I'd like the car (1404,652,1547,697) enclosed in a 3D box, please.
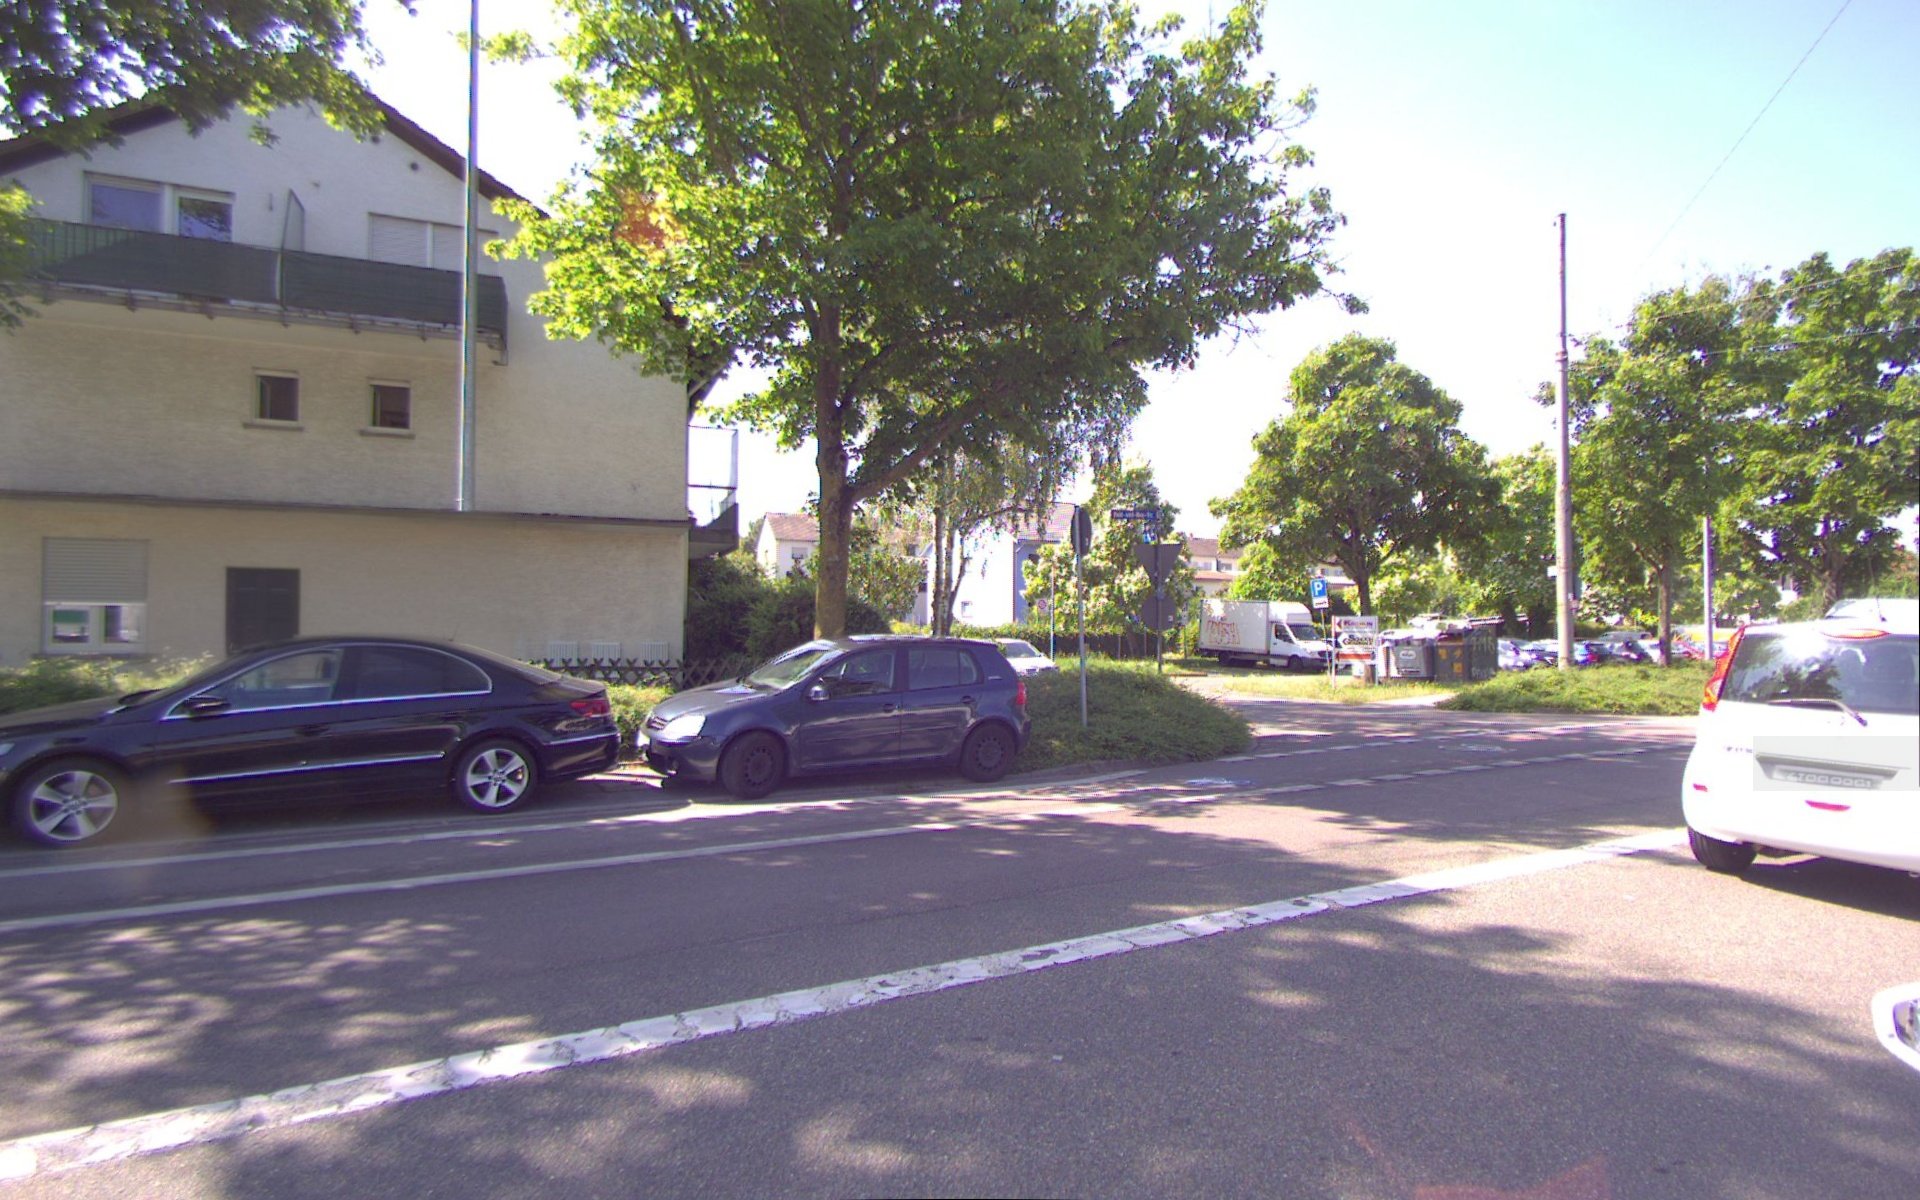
[{"bbox_3d":[17.324,2.487,33.901,1.712,1.434,3.964,2,-4,-33],"label":"car"}]

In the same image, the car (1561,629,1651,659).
[{"bbox_3d":[44.516,2.983,69.300,2.043,1.811,4.762,2,0,-34],"label":"car"}]

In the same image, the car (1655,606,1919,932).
[{"bbox_3d":[6.413,0.857,6.252,4.491,1.568,1.655,1,-1,-29],"label":"car"}]

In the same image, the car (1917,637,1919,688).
[{"bbox_3d":[29.409,1.816,28.736,4.230,1.434,1.854,1,0,-31],"label":"car"}]

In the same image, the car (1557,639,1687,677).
[{"bbox_3d":[26.352,2.325,40.098,1.712,1.434,3.964,2,-4,-33],"label":"car"}]

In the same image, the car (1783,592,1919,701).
[{"bbox_3d":[23.795,1.138,25.777,5.745,2.550,2.114,1,0,-29],"label":"car"}]

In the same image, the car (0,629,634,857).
[{"bbox_3d":[-5.258,1.004,8.350,4.568,1.434,1.854,1,0,-31],"label":"car"}]

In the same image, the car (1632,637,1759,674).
[{"bbox_3d":[30.741,2.330,42.086,1.712,1.434,3.964,2,-4,-33],"label":"car"}]

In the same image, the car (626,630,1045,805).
[{"bbox_3d":[-1.268,1.094,10.479,3.988,1.462,1.718,1,0,-28],"label":"car"}]

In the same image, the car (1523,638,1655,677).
[{"bbox_3d":[24.171,2.209,38.716,1.712,1.434,3.964,2,-4,-33],"label":"car"}]

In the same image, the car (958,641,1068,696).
[{"bbox_3d":[1.419,1.918,28.425,1.704,1.434,3.983,1,-3,-20],"label":"car"}]

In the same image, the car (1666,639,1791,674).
[{"bbox_3d":[33.163,2.442,43.456,1.712,1.434,3.964,2,-4,-33],"label":"car"}]

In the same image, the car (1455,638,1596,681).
[{"bbox_3d":[19.696,2.072,35.124,1.712,1.434,3.964,2,-4,-33],"label":"car"}]

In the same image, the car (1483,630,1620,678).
[{"bbox_3d":[21.415,1.968,36.509,1.712,1.631,3.964,2,-4,-33],"label":"car"}]

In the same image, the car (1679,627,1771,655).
[{"bbox_3d":[54.423,2.898,71.549,2.043,1.811,4.762,2,0,-34],"label":"car"}]

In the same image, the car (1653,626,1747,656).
[{"bbox_3d":[50.589,2.768,68.752,2.043,1.811,4.762,2,0,-34],"label":"car"}]

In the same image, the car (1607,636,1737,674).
[{"bbox_3d":[28.830,2.240,40.785,1.712,1.434,3.964,2,-4,-33],"label":"car"}]

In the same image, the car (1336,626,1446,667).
[{"bbox_3d":[21.702,2.322,50.718,2.043,1.811,4.762,2,0,-34],"label":"car"}]

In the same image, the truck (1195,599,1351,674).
[{"bbox_3d":[14.416,1.612,46.840,2.646,3.151,6.967,1,0,-30],"label":"truck"}]
